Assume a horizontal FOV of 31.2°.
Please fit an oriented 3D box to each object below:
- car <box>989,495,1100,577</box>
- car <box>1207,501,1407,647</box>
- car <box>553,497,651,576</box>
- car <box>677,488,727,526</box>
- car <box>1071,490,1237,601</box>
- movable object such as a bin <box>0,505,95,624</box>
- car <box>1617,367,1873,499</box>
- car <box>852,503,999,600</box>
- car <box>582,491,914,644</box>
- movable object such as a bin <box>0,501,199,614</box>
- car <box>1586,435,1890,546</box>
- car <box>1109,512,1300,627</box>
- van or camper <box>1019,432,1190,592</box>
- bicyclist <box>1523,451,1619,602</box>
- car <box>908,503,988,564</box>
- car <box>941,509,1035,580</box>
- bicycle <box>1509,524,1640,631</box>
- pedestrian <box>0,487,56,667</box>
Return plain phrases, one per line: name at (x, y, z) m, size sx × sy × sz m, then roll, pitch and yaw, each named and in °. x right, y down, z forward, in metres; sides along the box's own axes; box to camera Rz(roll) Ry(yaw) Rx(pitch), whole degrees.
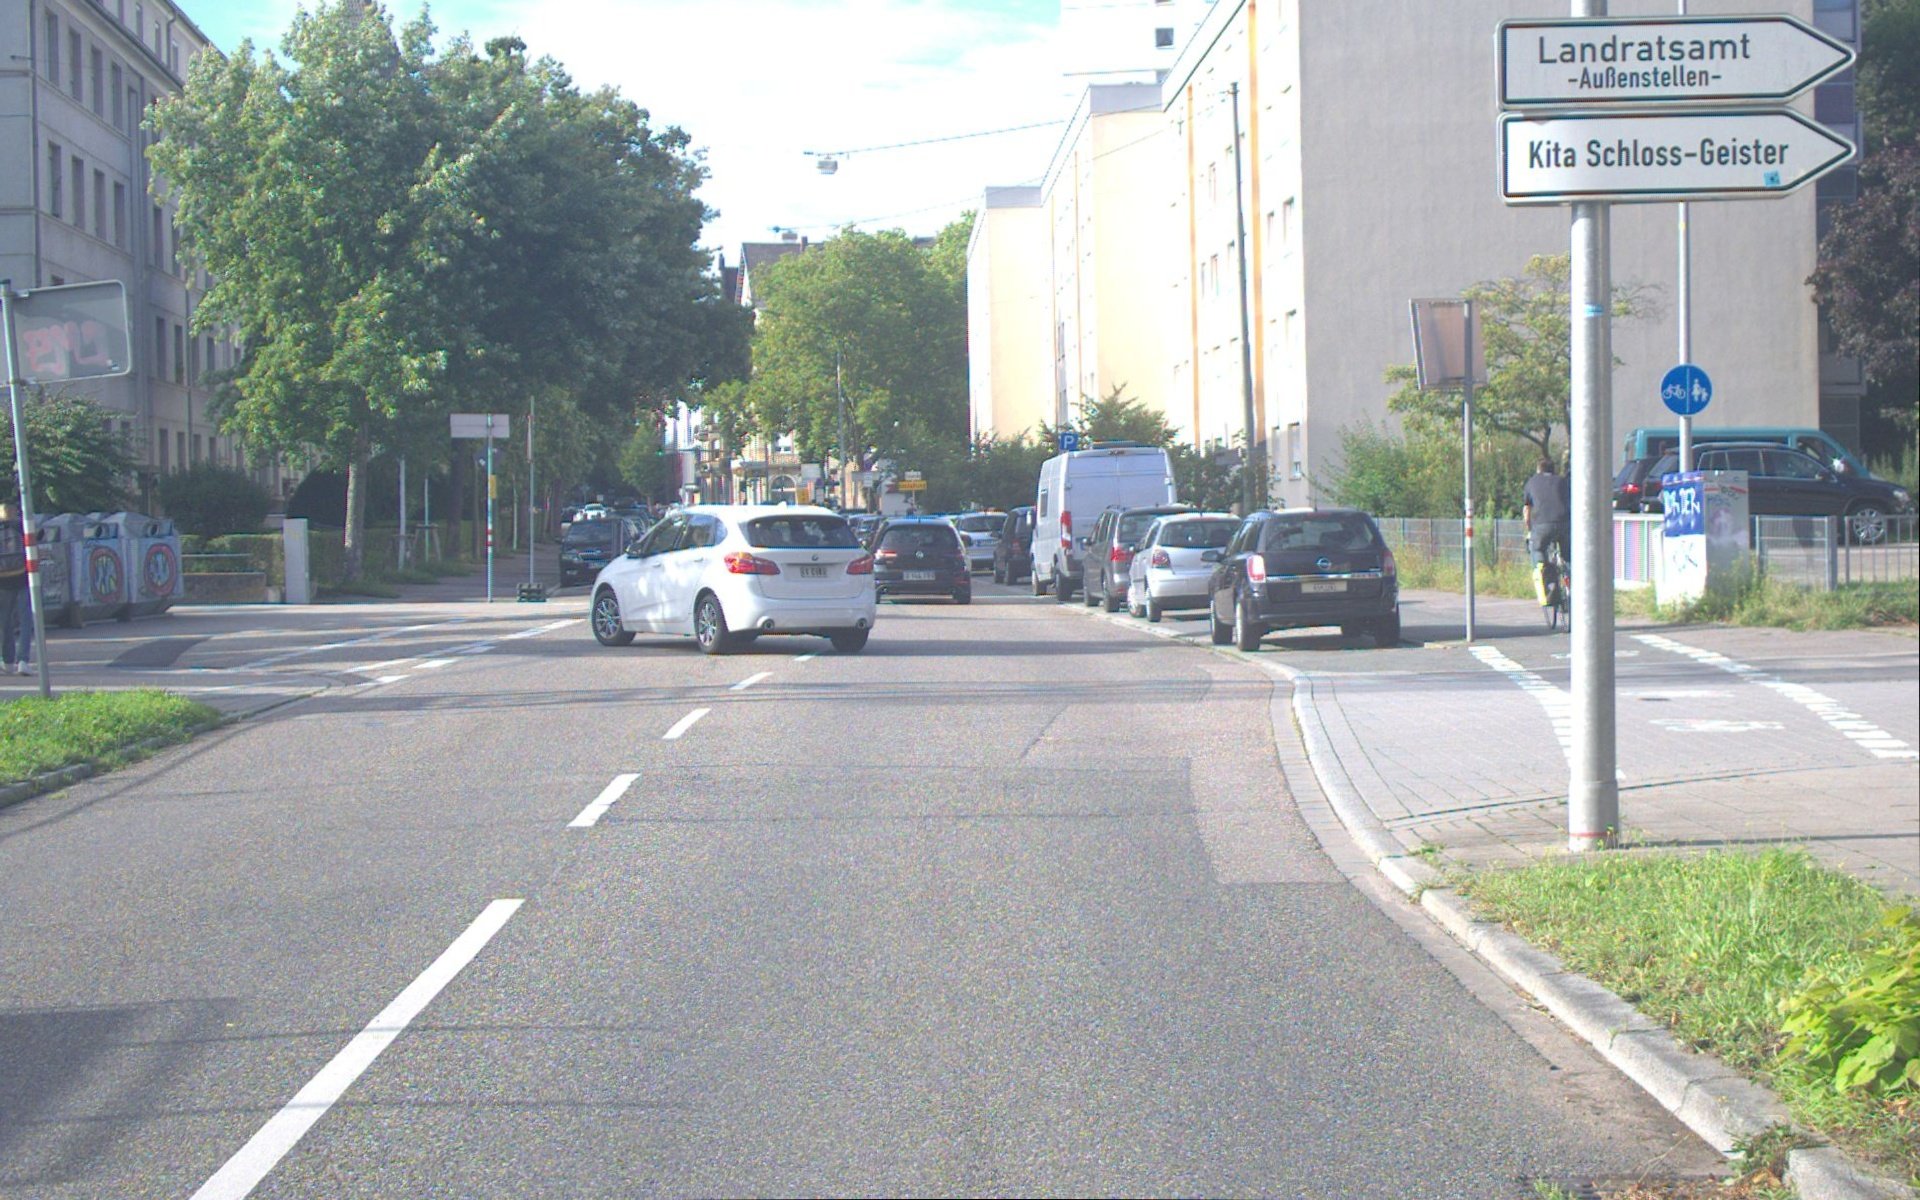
car at (1.708, -1.339, 70.946) m, size 1.993 × 1.568 × 4.001 m, roll -2°, pitch 2°, yaw -2°
car at (3.707, -0.310, 37.324) m, size 1.717 × 1.491 × 4.268 m, roll 0°, pitch 1°, yaw 0°
car at (-7.960, -1.421, 76.214) m, size 1.993 × 1.634 × 4.001 m, roll -2°, pitch 2°, yaw -8°
car at (-12.169, -4.377, 161.827) m, size 2.055 × 1.658 × 3.927 m, roll -2°, pitch 2°, yaw -8°
car at (2.994, -0.879, 54.004) m, size 1.993 × 1.610 × 4.409 m, roll -2°, pitch 2°, yaw -4°
movable object such as a bin at (-14.414, -0.526, 50.178) m, size 3.105 × 1.702 × 1.547 m, roll 0°, pitch 1°, yaw 14°
car at (14.031, -2.977, 61.589) m, size 4.119 × 2.178 × 2.000 m, roll -2°, pitch 2°, yaw 2°
car at (-0.626, -0.851, 58.483) m, size 1.993 × 1.565 × 4.001 m, roll -1°, pitch 2°, yaw -8°
car at (-2.362, -0.373, 37.188) m, size 1.993 × 1.549 × 4.274 m, roll -1°, pitch 1°, yaw -28°
movable object such as a bin at (-13.432, -0.663, 52.794) m, size 3.105 × 1.702 × 1.410 m, roll 0°, pitch 1°, yaw 12°
car at (12.472, -1.761, 55.339) m, size 4.448 × 1.616 × 2.000 m, roll -2°, pitch 2°, yaw 2°
car at (3.395, -0.455, 48.686) m, size 2.015 × 1.470 × 4.803 m, roll -3°, pitch 1°, yaw -4°
van or camper at (2.461, -1.548, 60.017) m, size 2.209 × 2.598 × 5.373 m, roll -2°, pitch 2°, yaw -5°
bicyclist at (6.371, -0.769, 35.871) m, size 0.737 × 1.508 × 0.875 m, roll -4°, pitch 1°, yaw -2°
car at (-0.344, -1.826, 93.847) m, size 1.993 × 1.568 × 4.001 m, roll -2°, pitch 2°, yaw -2°
car at (0.629, -1.336, 81.396) m, size 1.993 × 1.568 × 4.001 m, roll -2°, pitch 2°, yaw -2°
bicycle at (6.398, -0.259, 35.952) m, size 0.740 × 1.031 × 2.762 m, roll -4°, pitch 1°, yaw -2°
pedestrian at (-9.329, -0.221, 33.403) m, size 1.006 × 1.722 × 1.178 m, roll -1°, pitch 0°, yaw -13°
